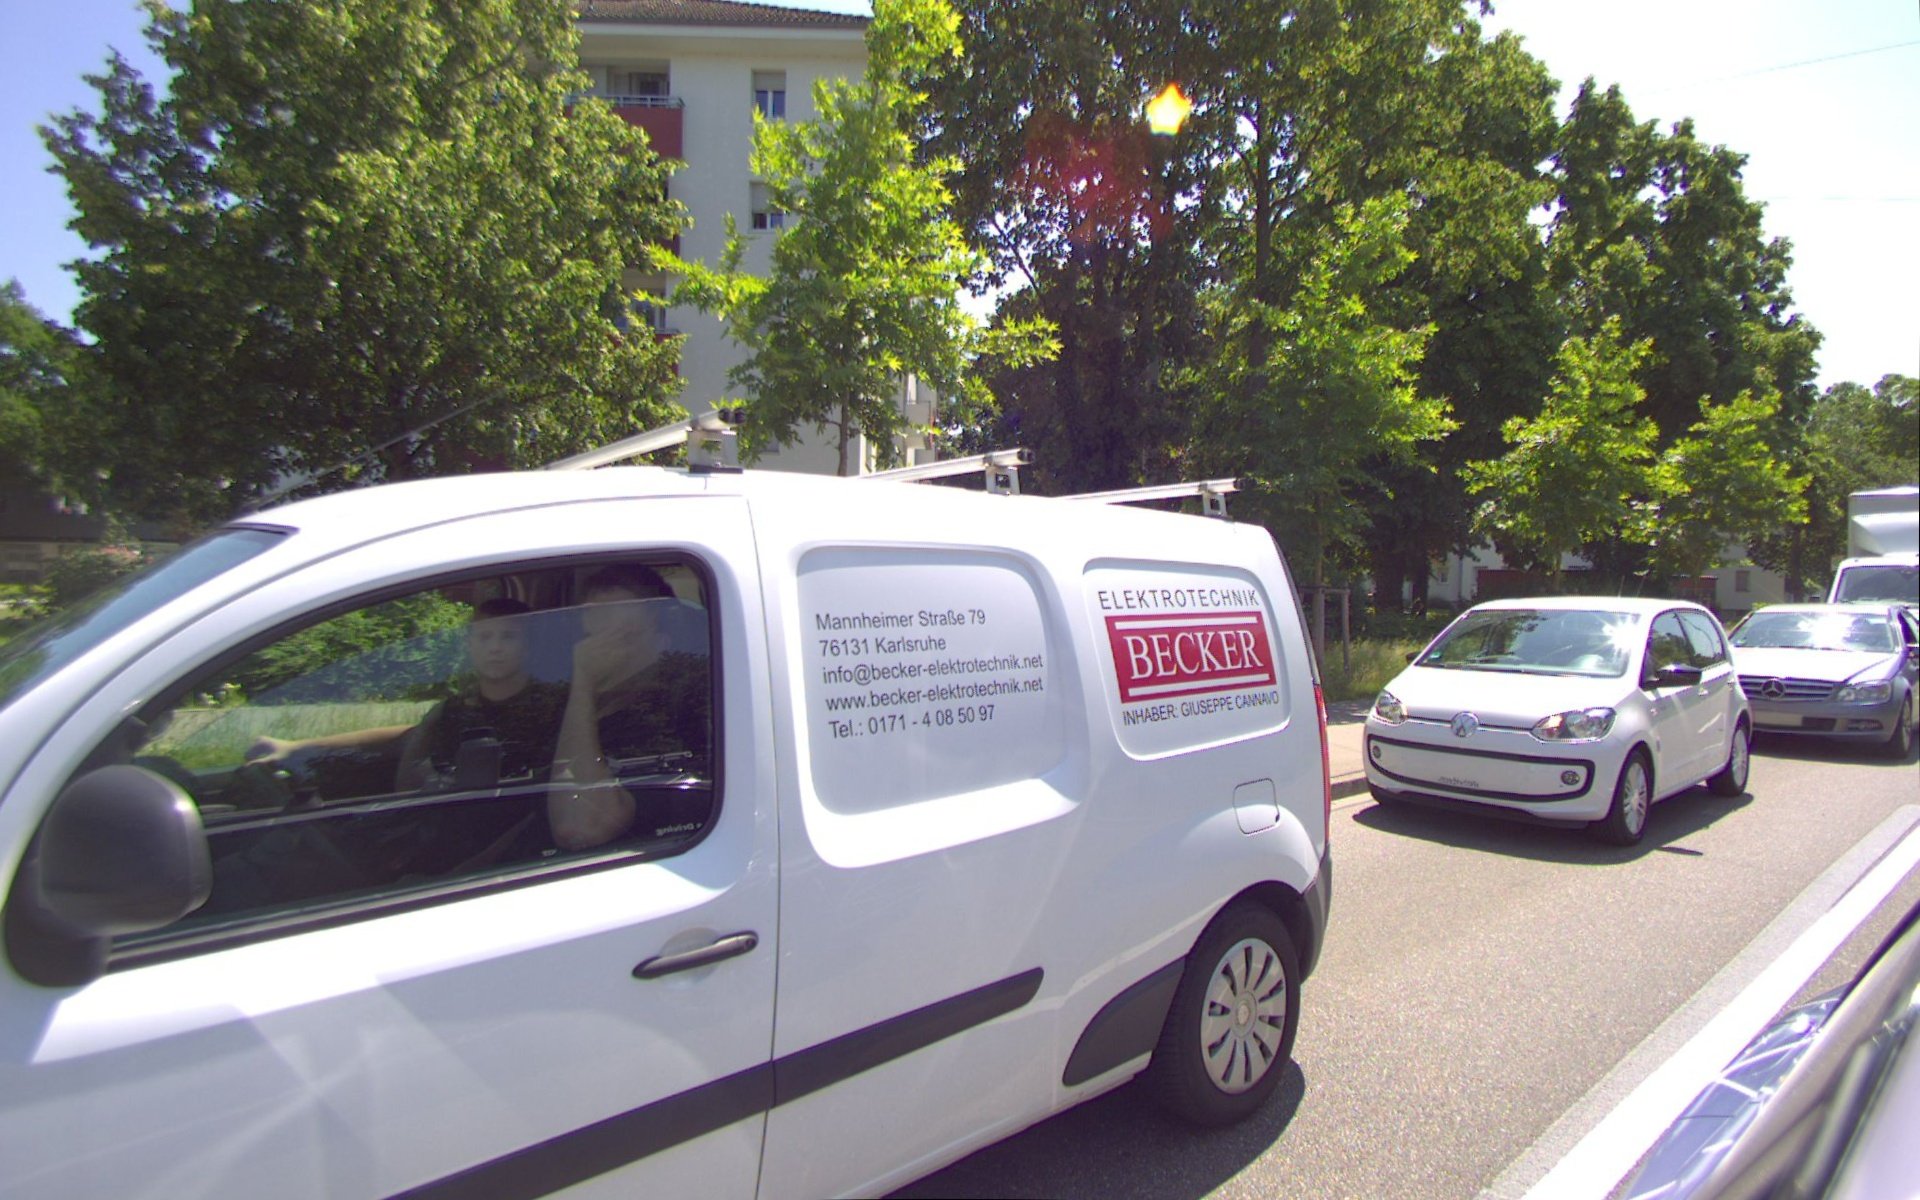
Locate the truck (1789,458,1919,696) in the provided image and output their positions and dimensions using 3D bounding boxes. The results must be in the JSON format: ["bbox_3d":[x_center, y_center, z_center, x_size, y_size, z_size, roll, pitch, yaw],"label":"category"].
[{"bbox_3d":[16.514,-0.340,16.980,7.778,3.387,2.434,0,1,-39],"label":"truck"}]

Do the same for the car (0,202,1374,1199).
[{"bbox_3d":[-0.994,0.453,2.539,4.370,1.849,1.997,0,1,-41],"label":"car"}]

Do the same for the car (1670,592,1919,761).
[{"bbox_3d":[9.232,0.652,10.744,4.016,1.426,1.839,0,1,-41],"label":"car"}]

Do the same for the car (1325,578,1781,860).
[{"bbox_3d":[4.399,0.619,7.294,3.705,1.497,1.729,0,1,-41],"label":"car"}]
